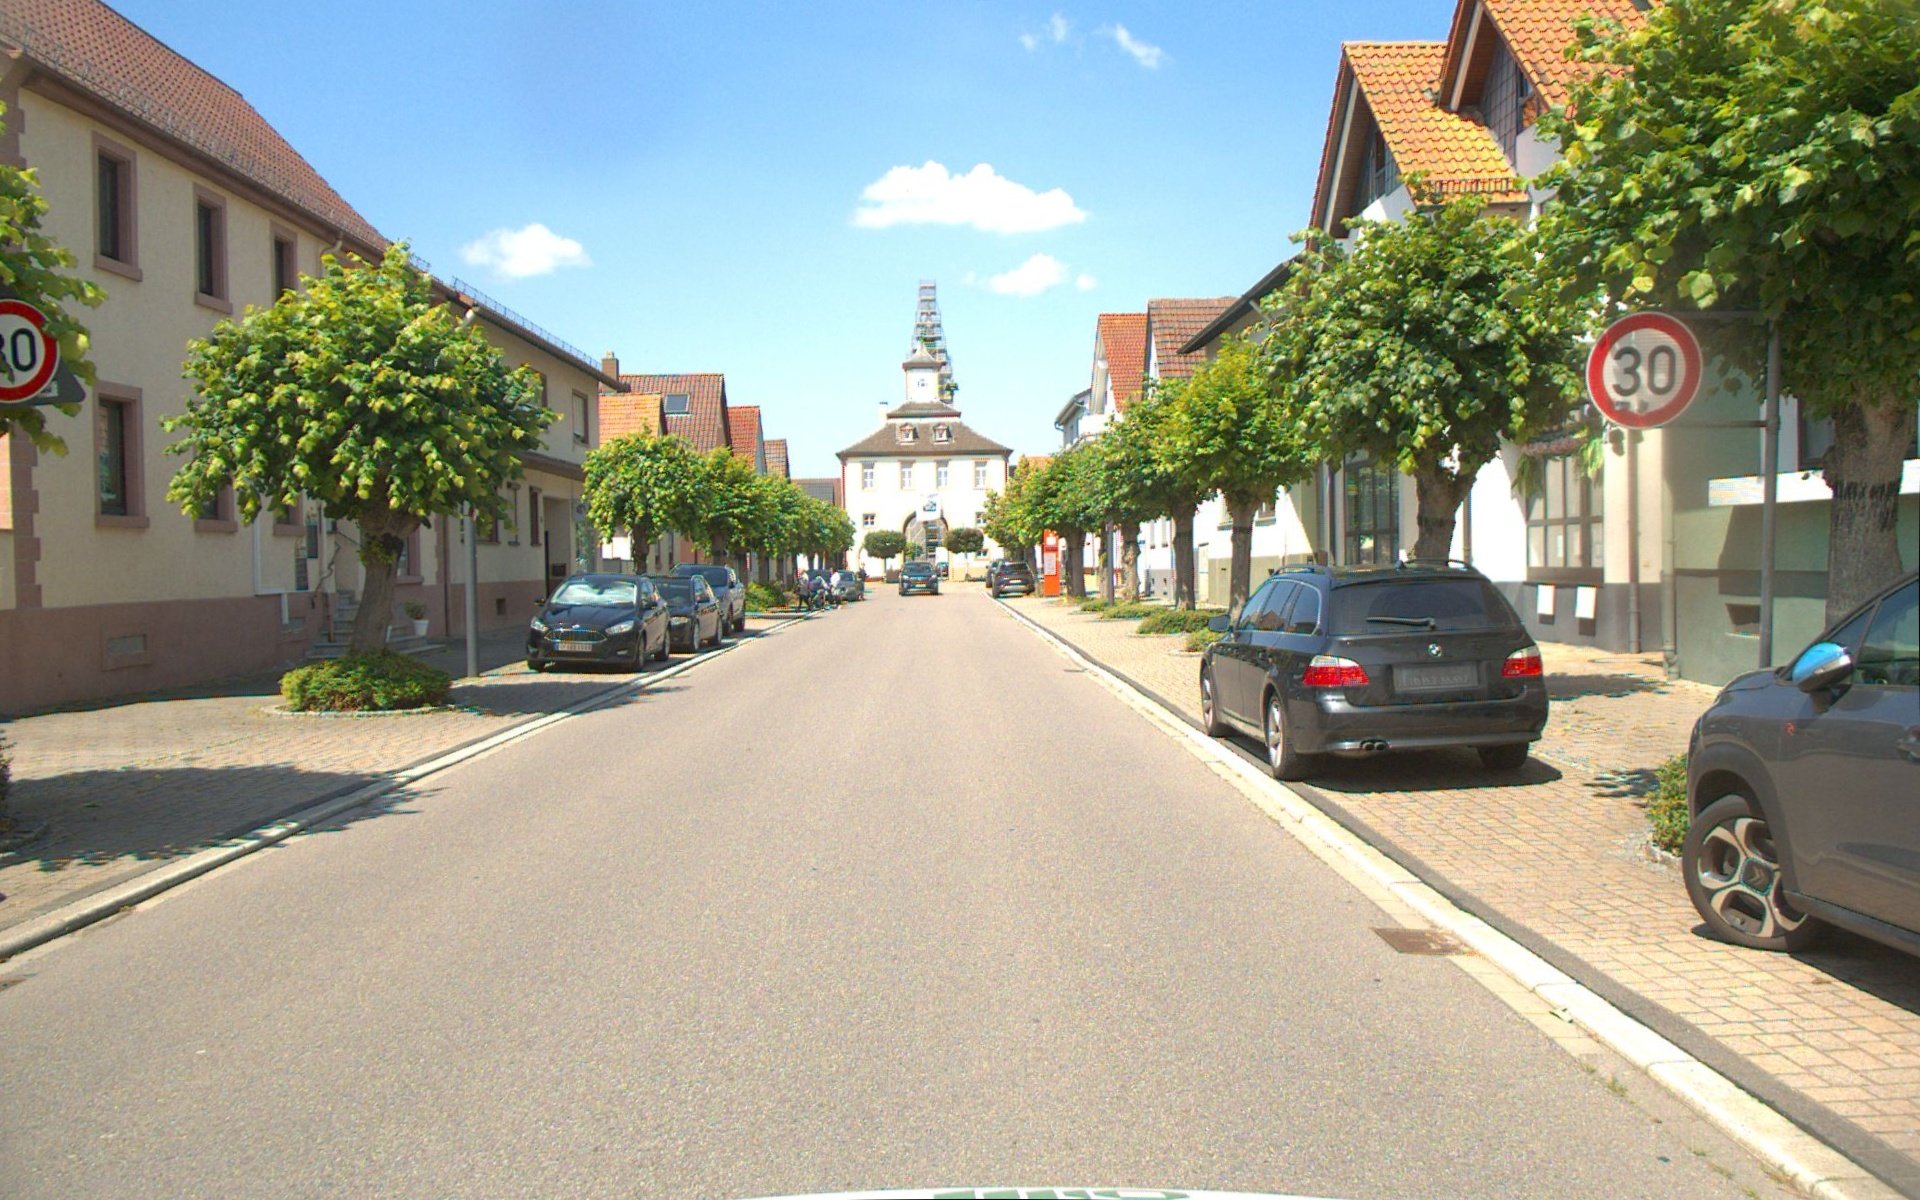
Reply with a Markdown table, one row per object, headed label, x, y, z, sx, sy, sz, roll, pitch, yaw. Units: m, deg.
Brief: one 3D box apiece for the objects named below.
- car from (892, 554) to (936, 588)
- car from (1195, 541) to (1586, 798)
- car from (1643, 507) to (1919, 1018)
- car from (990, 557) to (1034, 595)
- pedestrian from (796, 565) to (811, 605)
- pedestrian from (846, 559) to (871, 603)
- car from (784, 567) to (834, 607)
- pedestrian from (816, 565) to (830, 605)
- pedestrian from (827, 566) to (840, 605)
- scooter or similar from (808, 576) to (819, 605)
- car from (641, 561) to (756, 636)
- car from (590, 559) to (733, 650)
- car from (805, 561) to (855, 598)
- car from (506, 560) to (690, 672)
| label | x | y | z | sx | sy | sz | roll | pitch | yaw |
| --- | --- | --- | --- | --- | --- | --- | --- | --- | --- |
| car | -2.364 | -1.447 | 83.677 | 1.955 | 1.639 | 4.501 | 0 | 1 | -5 |
| car | 3.113 | 0.403 | 12.922 | 1.800 | 1.582 | 4.313 | -3 | 1 | -1 |
| car | 3.969 | 0.508 | 5.286 | 1.800 | 1.635 | 3.999 | -1 | 1 | -2 |
| car | 2.365 | -1.101 | 75.570 | 1.800 | 1.582 | 4.314 | -3 | 1 | 0 |
| pedestrian | -5.616 | -0.544 | 59.351 | 0.352 | 1.427 | 0.319 | -1 | 1 | 36 |
| pedestrian | -4.812 | -0.908 | 78.279 | 0.867 | 2.049 | 0.834 | 1 | 0 | 27 |
| car | -6.328 | -0.561 | 69.757 | 1.721 | 1.582 | 4.020 | -1 | 1 | 0 |
| pedestrian | -5.014 | -0.549 | 60.549 | 0.352 | 1.427 | 0.319 | -1 | 1 | 36 |
| pedestrian | -4.663 | -0.548 | 60.908 | 0.352 | 1.427 | 0.319 | -1 | 1 | 36 |
| scooter or similar | -5.357 | -0.349 | 60.414 | 0.323 | 1.020 | 0.240 | -1 | 1 | 37 |
| car | -6.165 | -0.085 | 39.574 | 1.953 | 1.639 | 4.689 | -1 | 1 | 0 |
| car | -5.788 | 0.062 | 32.672 | 1.953 | 1.639 | 4.689 | 0 | 1 | 0 |
| car | -5.909 | -0.934 | 75.502 | 1.953 | 1.639 | 3.855 | 0 | 0 | 0 |
| car | -5.808 | 0.183 | 27.125 | 1.953 | 1.639 | 4.690 | 0 | 2 | 0 |
